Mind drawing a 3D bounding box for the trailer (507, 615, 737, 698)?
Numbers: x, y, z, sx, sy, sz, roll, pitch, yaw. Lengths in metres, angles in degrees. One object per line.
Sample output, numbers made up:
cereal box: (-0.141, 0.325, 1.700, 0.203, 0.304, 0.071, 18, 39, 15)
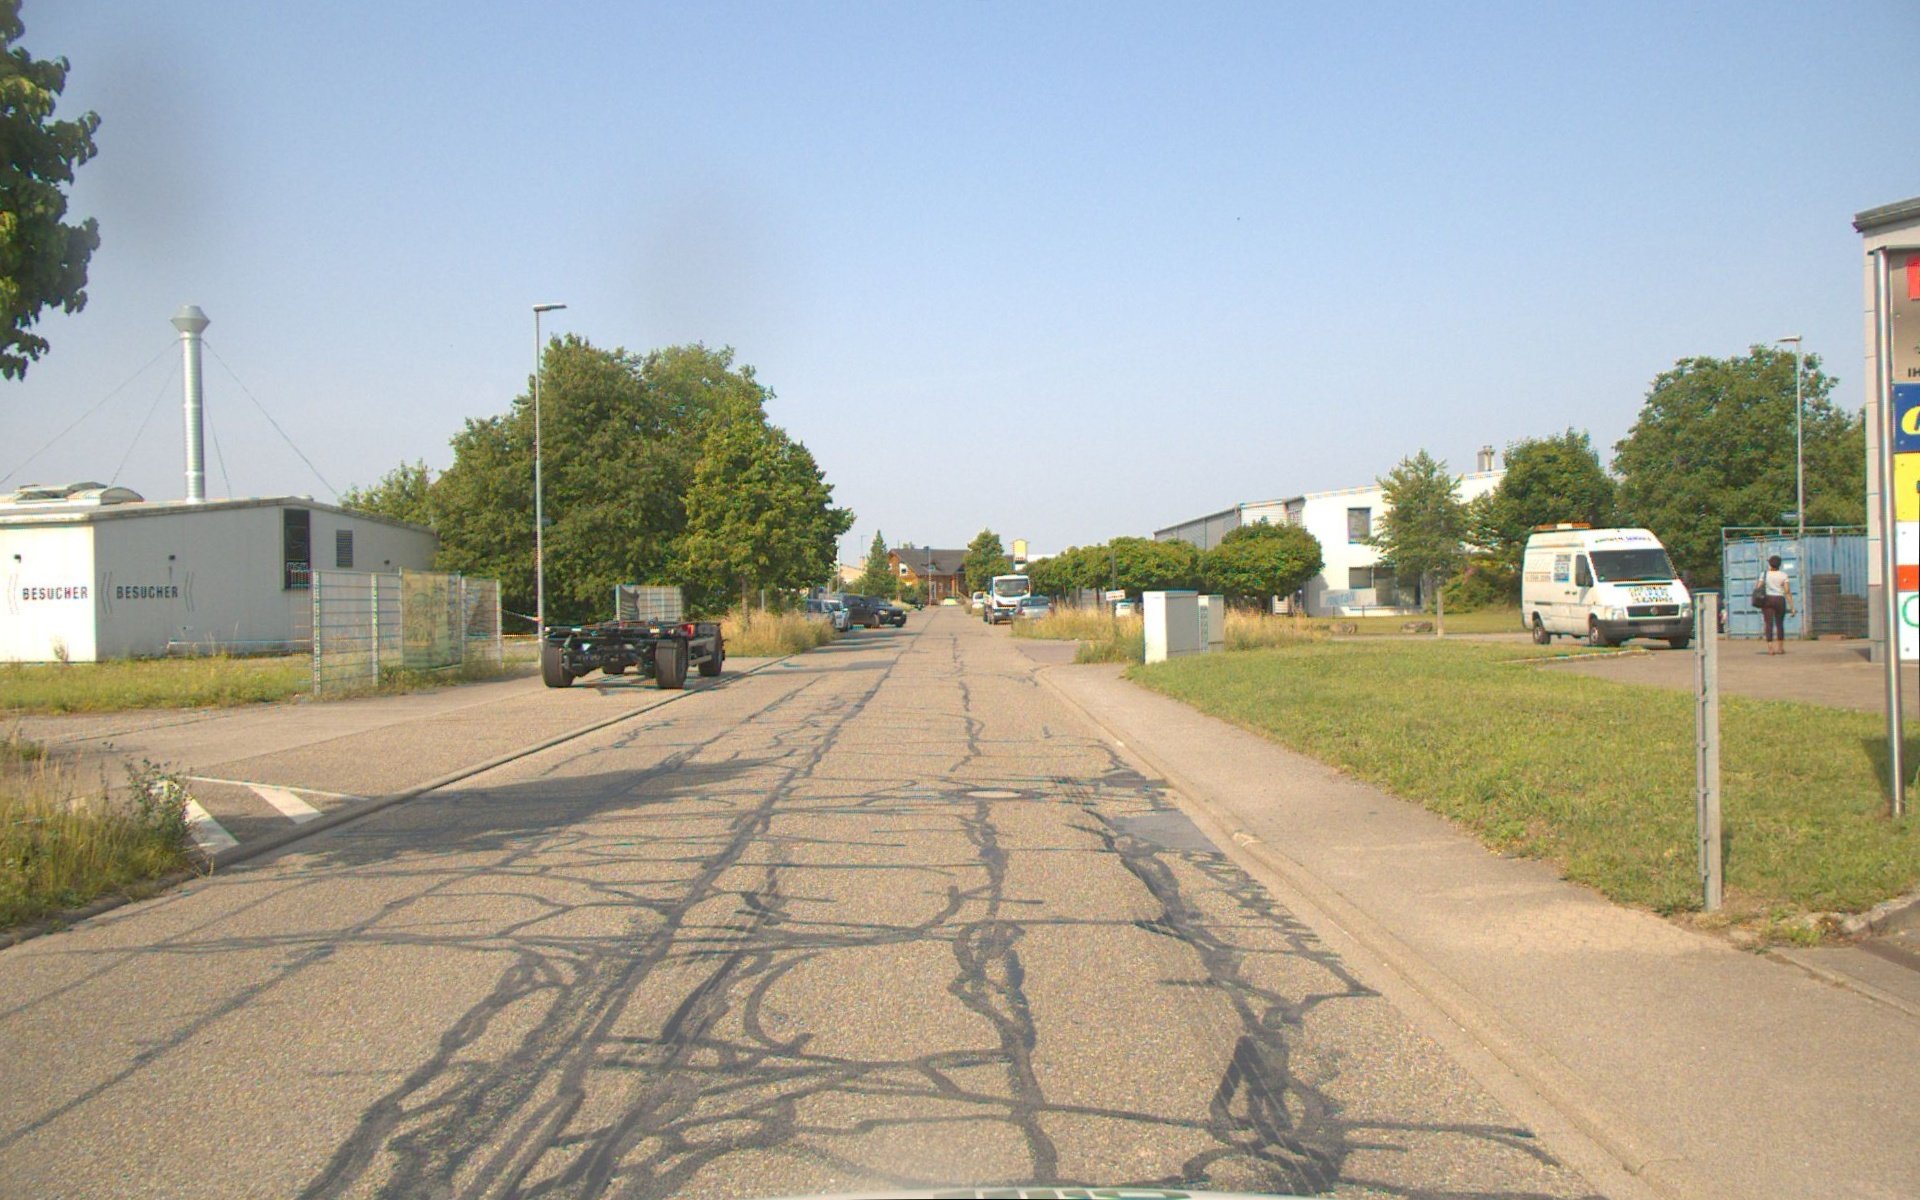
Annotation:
trailer: (-6.047, 0.939, 31.164, 2.530, 1.205, 9.361, 0, 0, -1)

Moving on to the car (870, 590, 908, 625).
car: (-3.860, 0.401, 90.293, 1.818, 1.744, 4.226, -3, 0, 0)

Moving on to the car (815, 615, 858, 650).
car: (-5.451, 1.426, 73.213, 1.546, 1.469, 3.964, 0, 0, 1)

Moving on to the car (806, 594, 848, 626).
car: (-6.291, 0.451, 78.657, 1.649, 1.495, 4.253, 0, 0, 0)

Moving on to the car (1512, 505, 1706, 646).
car: (13.855, -0.501, 35.759, 1.933, 2.753, 5.881, -1, 0, 1)

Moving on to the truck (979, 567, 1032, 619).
truck: (2.468, -0.406, 91.905, 2.313, 2.728, 6.505, -1, 0, -4)

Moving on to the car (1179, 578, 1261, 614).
car: (12.672, -0.200, 80.467, 1.659, 1.616, 4.501, -1, 0, 45)

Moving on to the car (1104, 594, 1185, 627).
car: (8.609, 0.499, 76.976, 3.664, 1.404, 1.663, -2, 0, -41)

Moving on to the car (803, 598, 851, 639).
car: (-5.494, 0.746, 68.535, 1.534, 1.565, 3.689, -1, 0, 2)

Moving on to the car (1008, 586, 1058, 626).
car: (2.989, 0.240, 68.136, 1.757, 1.544, 4.423, -1, 0, -1)

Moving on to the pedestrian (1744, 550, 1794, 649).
pedestrian: (13.863, -0.014, 28.343, 0.689, 1.668, 0.747, -1, 0, 31)

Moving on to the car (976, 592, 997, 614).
car: (2.440, 0.229, 154.116, 1.800, 1.957, 3.756, -2, 0, 0)
